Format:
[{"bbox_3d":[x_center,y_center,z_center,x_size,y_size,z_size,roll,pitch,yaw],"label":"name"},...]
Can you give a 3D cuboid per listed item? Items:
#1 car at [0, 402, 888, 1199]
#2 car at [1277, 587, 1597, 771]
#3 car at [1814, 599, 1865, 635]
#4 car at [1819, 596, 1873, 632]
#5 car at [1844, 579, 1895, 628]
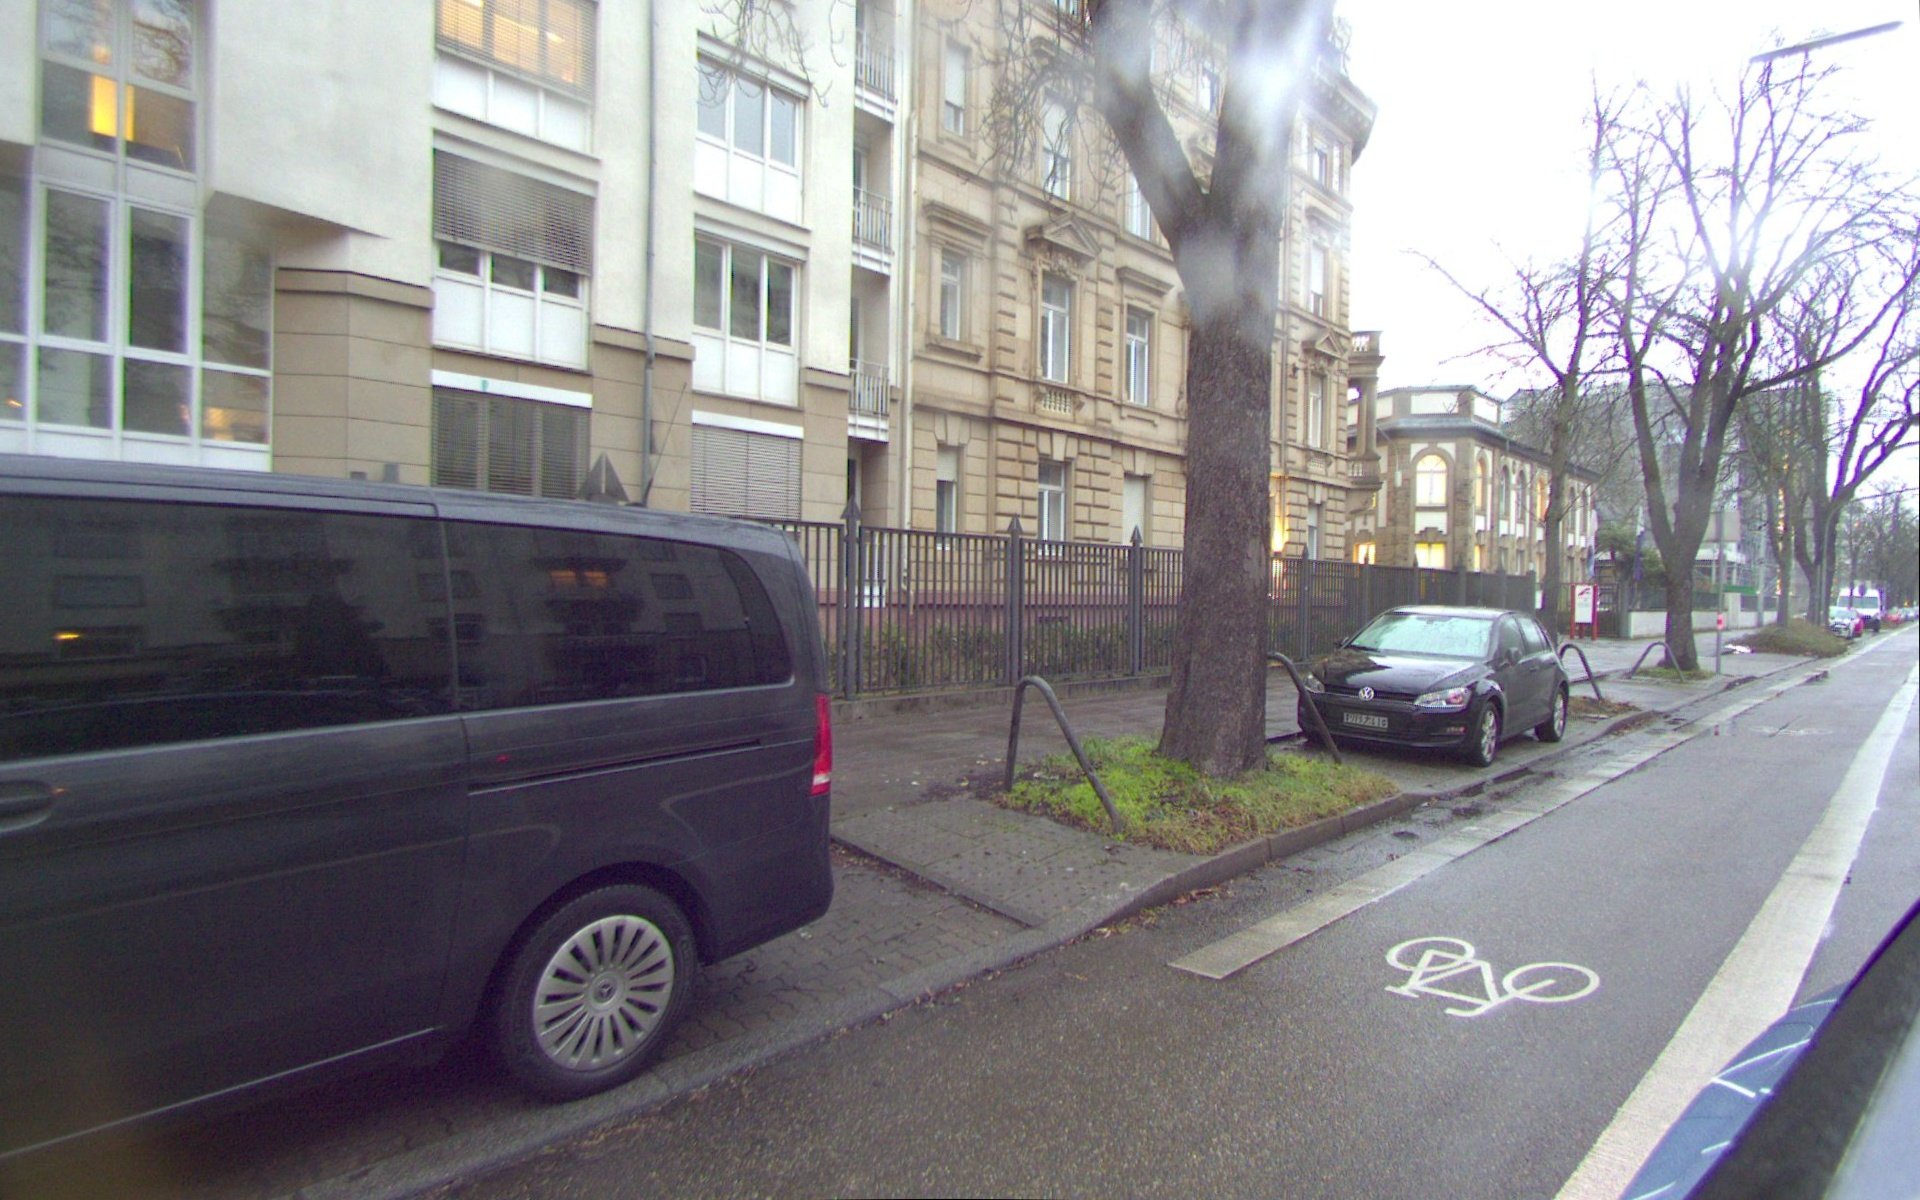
[{"bbox_3d":[-2.722,0.509,2.787,4.882,1.899,2.032,0,2,-45],"label":"car"},{"bbox_3d":[5.118,0.671,10.584,1.758,1.463,4.091,4,2,44],"label":"car"},{"bbox_3d":[38.325,0.705,44.075,1.623,1.425,3.939,0,1,42],"label":"car"},{"bbox_3d":[44.981,0.660,51.344,1.992,1.703,3.939,0,1,42],"label":"car"},{"bbox_3d":[52.167,0.144,58.081,2.086,2.670,5.367,0,1,42],"label":"car"}]
